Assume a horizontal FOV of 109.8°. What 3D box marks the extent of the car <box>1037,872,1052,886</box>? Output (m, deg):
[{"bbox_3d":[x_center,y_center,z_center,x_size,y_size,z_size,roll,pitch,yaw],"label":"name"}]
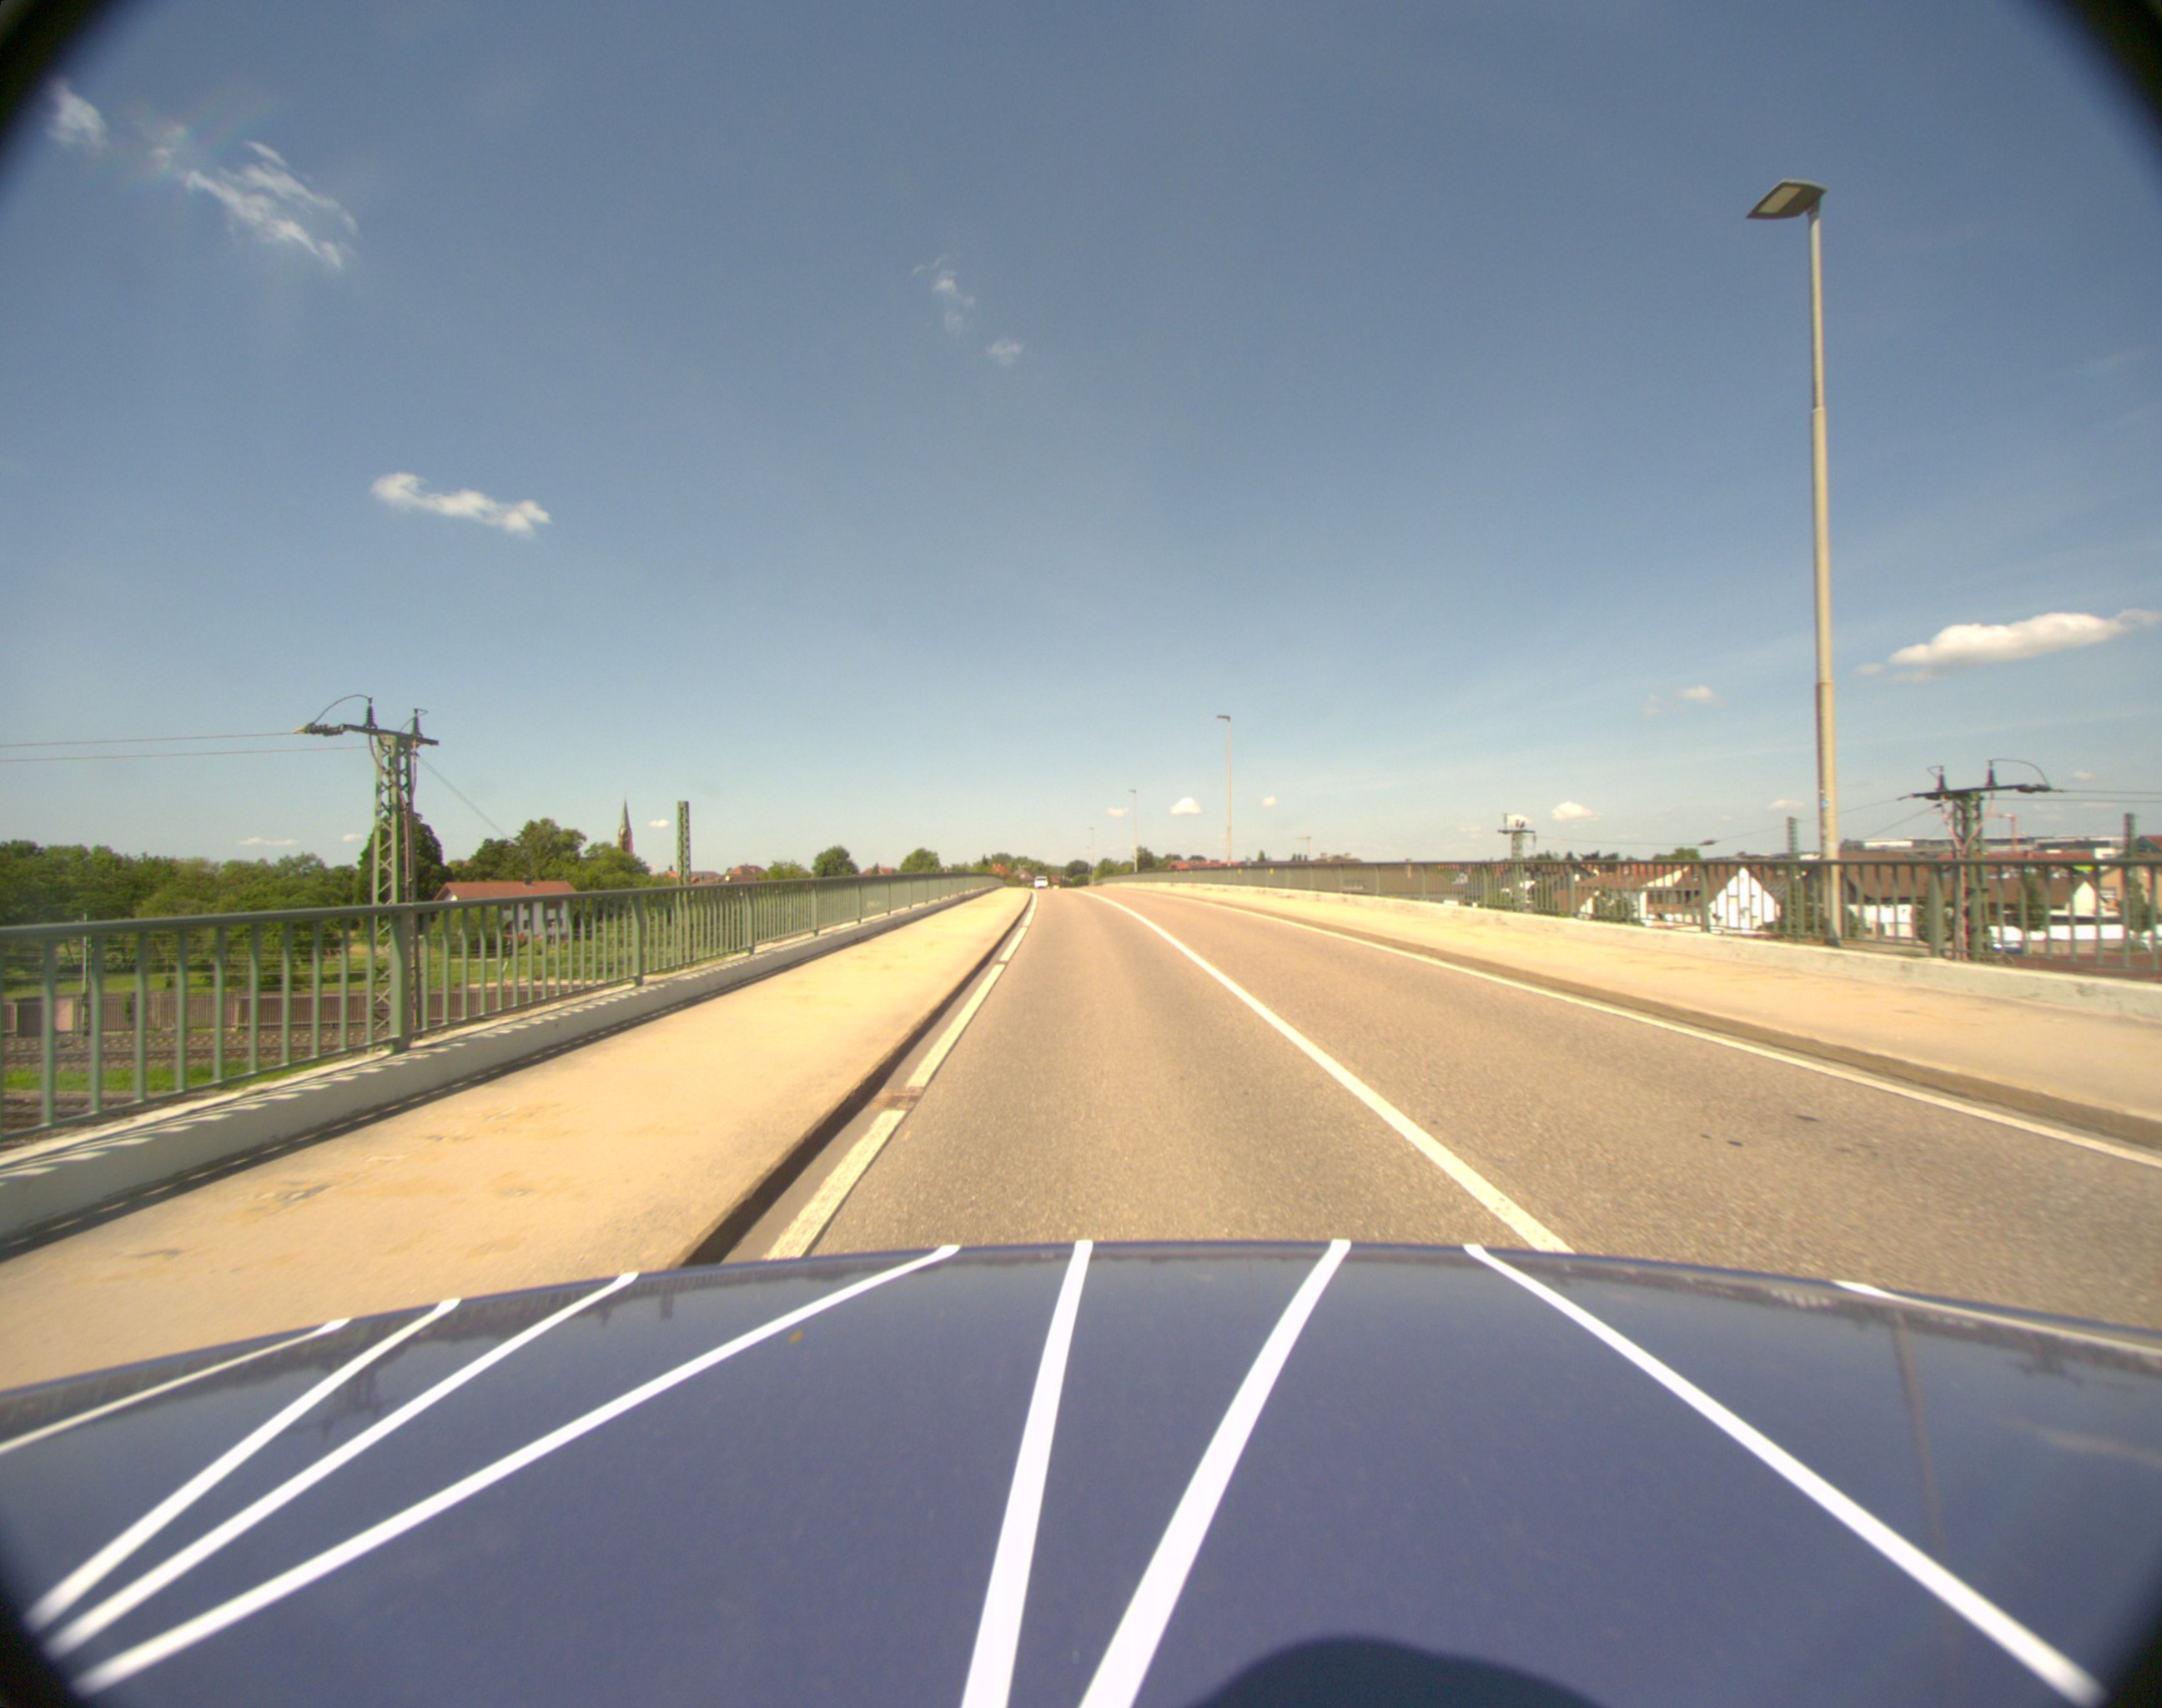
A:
[{"bbox_3d":[-5.179,3.570,108.371,2.093,1.750,4.282,-2,0,-2],"label":"car"}]
